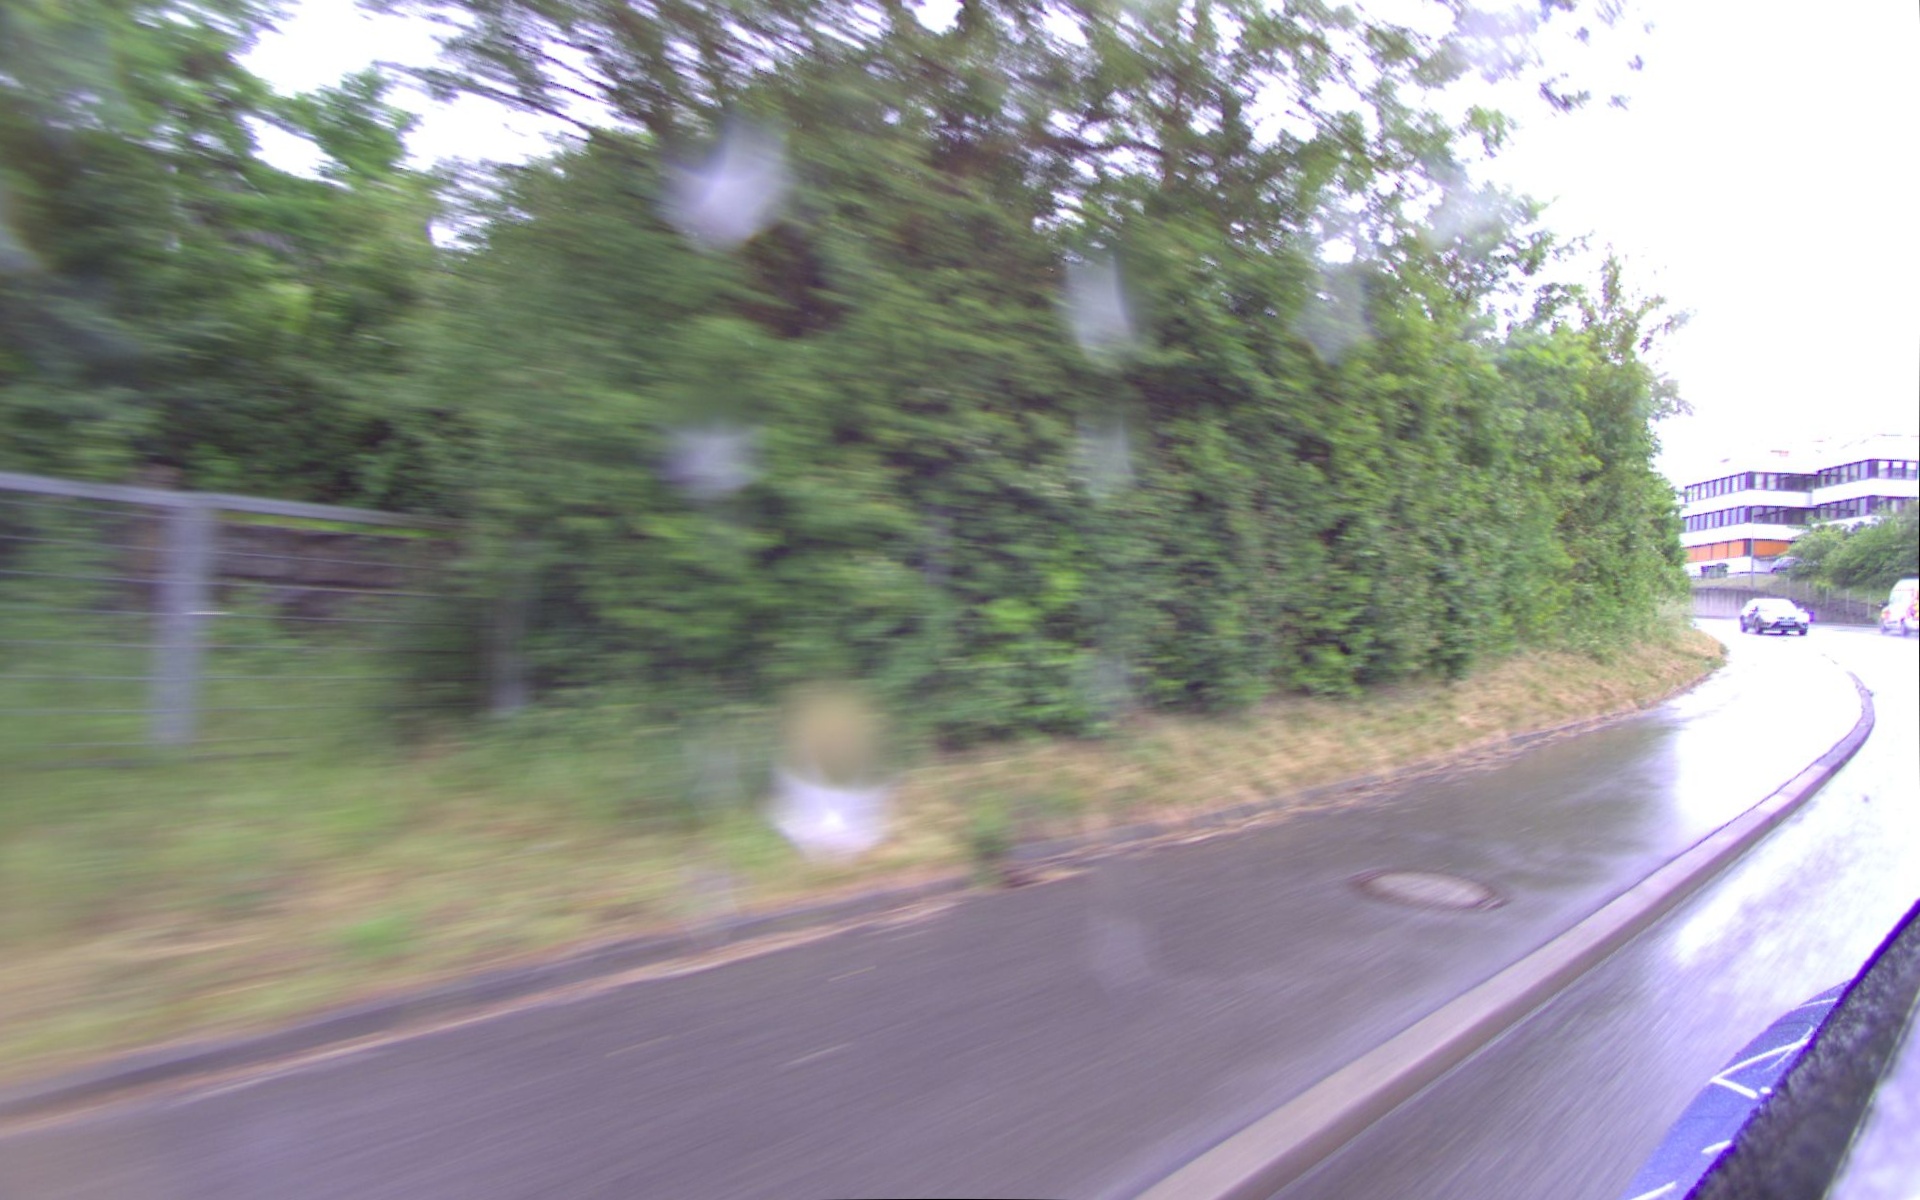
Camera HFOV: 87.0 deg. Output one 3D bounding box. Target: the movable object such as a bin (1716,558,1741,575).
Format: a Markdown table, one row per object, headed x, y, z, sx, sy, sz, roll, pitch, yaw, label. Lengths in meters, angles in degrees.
| x | y | z | sx | sy | sz | roll | pitch | yaw | label |
| --- | --- | --- | --- | --- | --- | --- | --- | --- | --- |
| 63.171 | -2.744 | 83.203 | 1.227 | 1.363 | 1.212 | 2 | 1 | 15 | movable object such as a bin |

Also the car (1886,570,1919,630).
| x | y | z | sx | sy | sz | roll | pitch | yaw | label |
| --- | --- | --- | --- | --- | --- | --- | --- | --- | --- |
| 40.998 | -0.008 | 42.456 | 2.034 | 2.448 | 5.395 | -1 | -1 | 31 | car |

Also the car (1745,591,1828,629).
| x | y | z | sx | sy | sz | roll | pitch | yaw | label |
| --- | --- | --- | --- | --- | --- | --- | --- | --- | --- |
| 36.386 | 0.439 | 44.668 | 1.858 | 1.459 | 4.336 | 4 | 2 | 27 | car |
